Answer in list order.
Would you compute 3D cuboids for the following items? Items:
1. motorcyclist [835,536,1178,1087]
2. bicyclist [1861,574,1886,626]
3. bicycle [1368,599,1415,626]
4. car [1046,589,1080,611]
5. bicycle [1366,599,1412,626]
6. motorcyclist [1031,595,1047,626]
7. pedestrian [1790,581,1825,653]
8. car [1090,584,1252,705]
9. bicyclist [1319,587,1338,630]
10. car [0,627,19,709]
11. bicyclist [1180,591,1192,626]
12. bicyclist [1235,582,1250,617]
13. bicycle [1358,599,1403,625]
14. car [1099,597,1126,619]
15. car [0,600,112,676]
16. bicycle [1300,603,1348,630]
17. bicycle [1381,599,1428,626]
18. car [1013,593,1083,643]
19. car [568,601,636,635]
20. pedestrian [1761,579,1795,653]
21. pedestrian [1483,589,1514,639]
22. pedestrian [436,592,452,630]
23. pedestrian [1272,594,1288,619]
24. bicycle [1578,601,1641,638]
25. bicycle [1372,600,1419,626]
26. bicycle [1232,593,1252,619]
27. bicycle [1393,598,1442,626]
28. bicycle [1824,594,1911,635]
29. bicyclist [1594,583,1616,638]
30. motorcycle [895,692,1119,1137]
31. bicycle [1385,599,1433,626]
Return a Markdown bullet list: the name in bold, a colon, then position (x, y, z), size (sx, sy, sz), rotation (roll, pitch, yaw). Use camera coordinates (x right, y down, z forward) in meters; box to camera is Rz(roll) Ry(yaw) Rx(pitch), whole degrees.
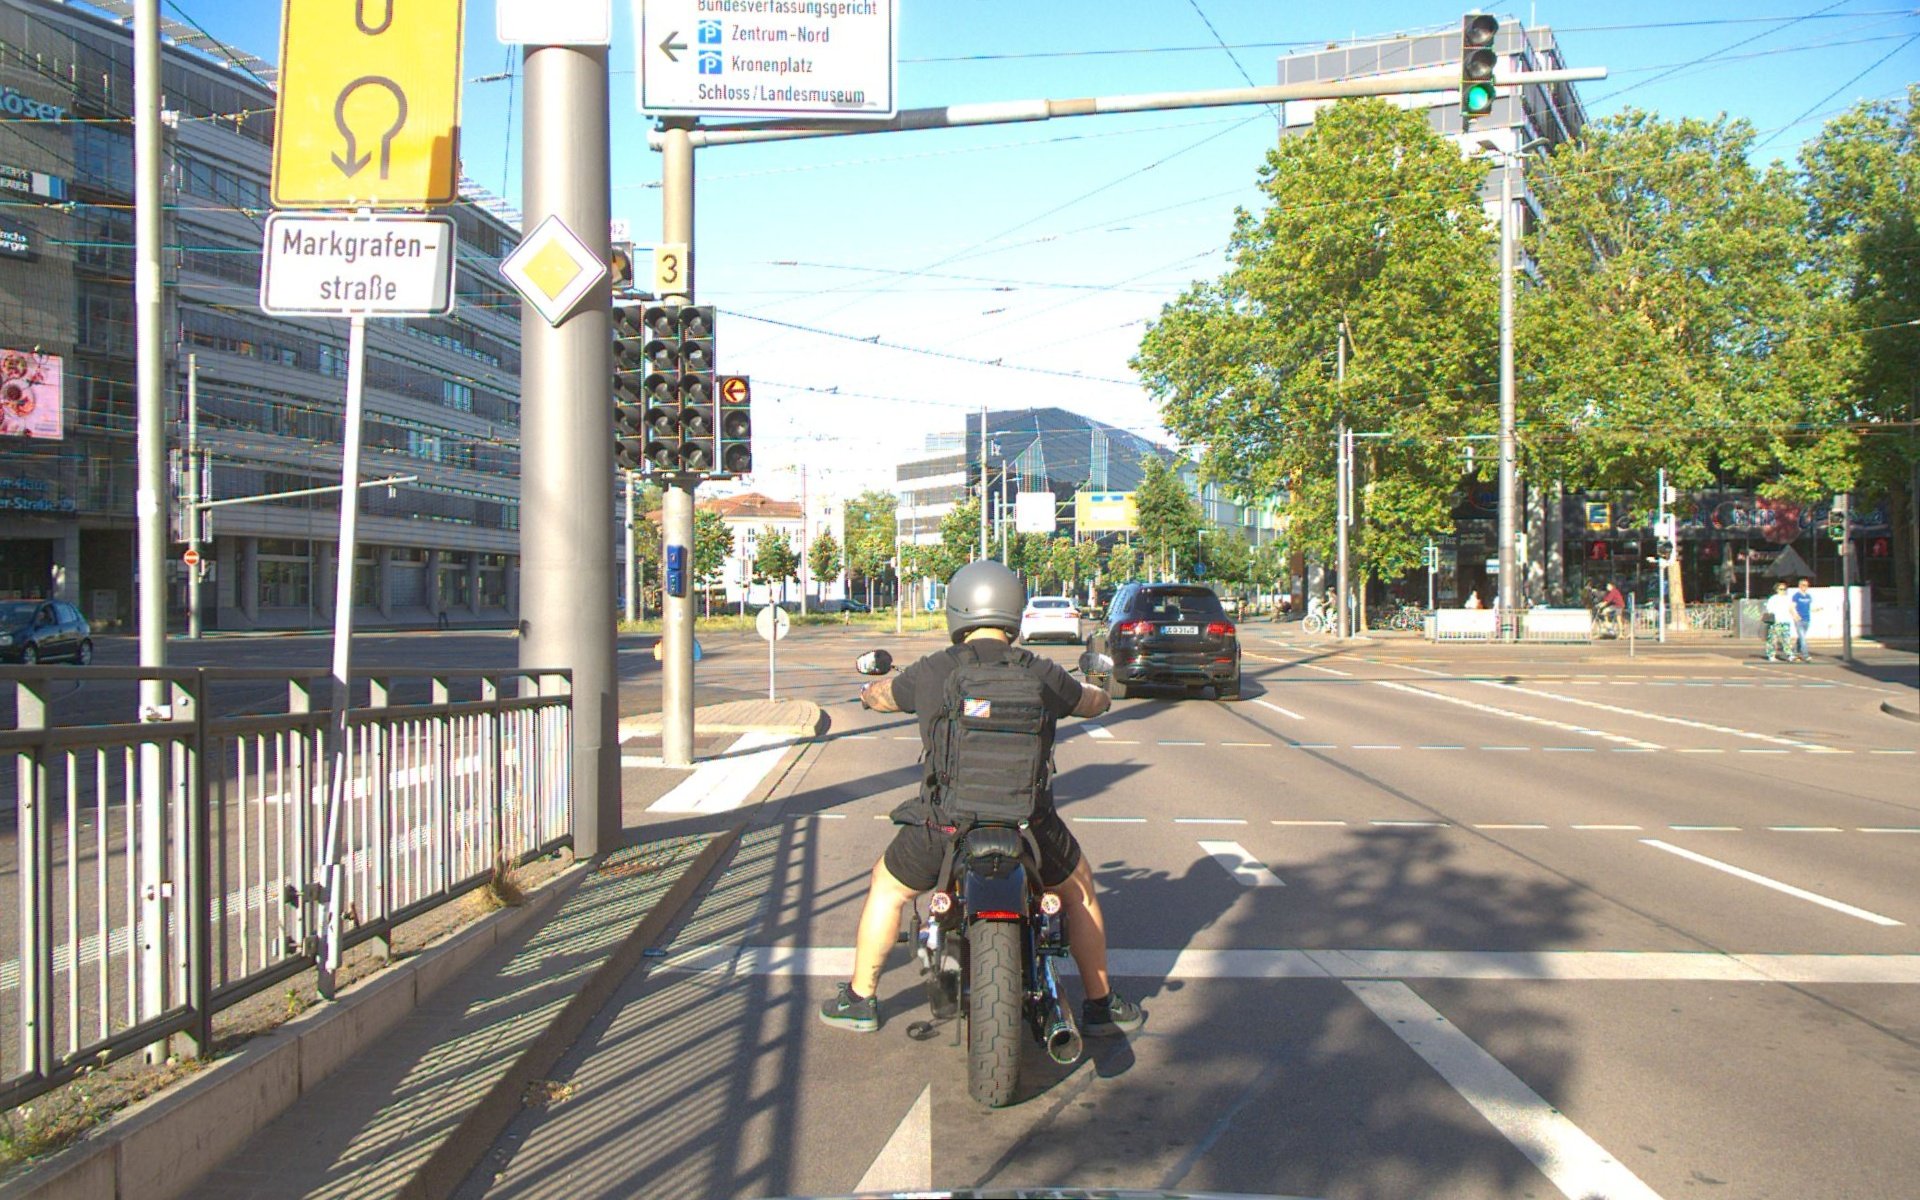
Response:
- **motorcyclist**: position (0.132, 0.621, 5.325), size (1.009, 1.621, 0.873), rotation (0, 0, -1)
- **bicyclist**: position (27.751, -0.004, 50.265), size (0.620, 1.545, 0.565), rotation (0, -1, 33)
- **bicycle**: position (18.065, 0.529, 69.252), size (1.842, 1.064, 0.360), rotation (1, 0, -2)
- **car**: position (7.203, -0.022, 114.870), size (1.765, 1.455, 4.457), rotation (0, 0, 12)
- **bicycle**: position (18.094, 0.528, 69.753), size (1.842, 1.064, 0.360), rotation (1, 0, -2)
- **motorcyclist**: position (4.143, 0.529, 86.414), size (0.779, 1.607, 0.529), rotation (1, -1, 5)
- **pedestrian**: position (18.015, 0.370, 35.175), size (0.554, 1.505, 0.702), rotation (1, -1, 20)
- **car**: position (3.012, 0.593, 24.454), size (1.766, 1.623, 4.452), rotation (0, 0, -1)
- **bicyclist**: position (14.578, 0.346, 65.377), size (0.673, 1.702, 0.541), rotation (0, -1, 18)
- **car**: position (-14.500, 0.904, 22.435), size (2.835, 1.081, 1.235), rotation (1, -1, -22)
- **bicyclist**: position (9.176, 0.355, 67.211), size (0.374, 1.397, 0.344), rotation (1, -1, -9)
- **bicyclist**: position (14.940, -0.020, 87.532), size (0.682, 1.840, 0.729), rotation (1, -1, 3)
- **bicycle**: position (18.023, 0.528, 70.902), size (1.842, 1.064, 0.360), rotation (1, 0, -2)
- **car**: position (12.392, 0.630, 134.334), size (1.765, 1.708, 4.044), rotation (1, -1, 11)
- **car**: position (-19.143, 0.731, 33.713), size (1.789, 1.455, 4.236), rotation (1, -1, -5)
- **bicycle**: position (14.394, 0.669, 65.440), size (1.831, 1.062, 0.537), rotation (0, -1, 18)
- **bicycle**: position (18.163, 0.516, 67.580), size (1.842, 1.065, 0.360), rotation (1, -1, -2)
- **car**: position (2.657, 0.522, 50.619), size (1.767, 1.455, 4.451), rotation (0, 0, -2)
- **car**: position (-17.039, 0.862, 78.791), size (1.712, 1.550, 4.003), rotation (1, -1, 11)
- **pedestrian**: position (17.376, 0.344, 35.143), size (0.554, 1.559, 0.702), rotation (1, -1, 20)
- **pedestrian**: position (18.907, 0.497, 58.109), size (0.816, 1.734, 0.759), rotation (1, -1, -1)
- **pedestrian**: position (-28.239, 0.586, 90.576), size (0.617, 2.049, 0.754), rotation (1, -1, -1)
- **pedestrian**: position (17.571, 0.366, 90.878), size (0.802, 1.337, 0.638), rotation (1, -1, 8)
- **bicycle**: position (22.353, 0.681, 56.906), size (2.001, 1.235, 0.421), rotation (1, -1, -1)
- **bicycle**: position (18.100, 0.538, 68.767), size (1.842, 1.065, 0.360), rotation (1, -1, -2)
- **bicycle**: position (14.932, 0.329, 87.576), size (0.710, 1.391, 2.918), rotation (1, -1, 3)
- **bicycle**: position (18.237, 0.478, 65.986), size (1.842, 1.065, 0.360), rotation (1, -1, -2)
- **bicycle**: position (27.615, 0.438, 50.334), size (2.280, 1.199, 0.566), rotation (0, -1, 32)
- **bicyclist**: position (22.204, 0.364, 56.913), size (0.572, 1.870, 0.402), rotation (1, -1, -1)
- **motorcycle**: position (0.112, 0.912, 5.579), size (0.588, 1.054, 2.233), rotation (1, 0, -1)
- **bicycle**: position (18.135, 0.495, 66.765), size (1.842, 1.065, 0.360), rotation (1, -1, -2)
